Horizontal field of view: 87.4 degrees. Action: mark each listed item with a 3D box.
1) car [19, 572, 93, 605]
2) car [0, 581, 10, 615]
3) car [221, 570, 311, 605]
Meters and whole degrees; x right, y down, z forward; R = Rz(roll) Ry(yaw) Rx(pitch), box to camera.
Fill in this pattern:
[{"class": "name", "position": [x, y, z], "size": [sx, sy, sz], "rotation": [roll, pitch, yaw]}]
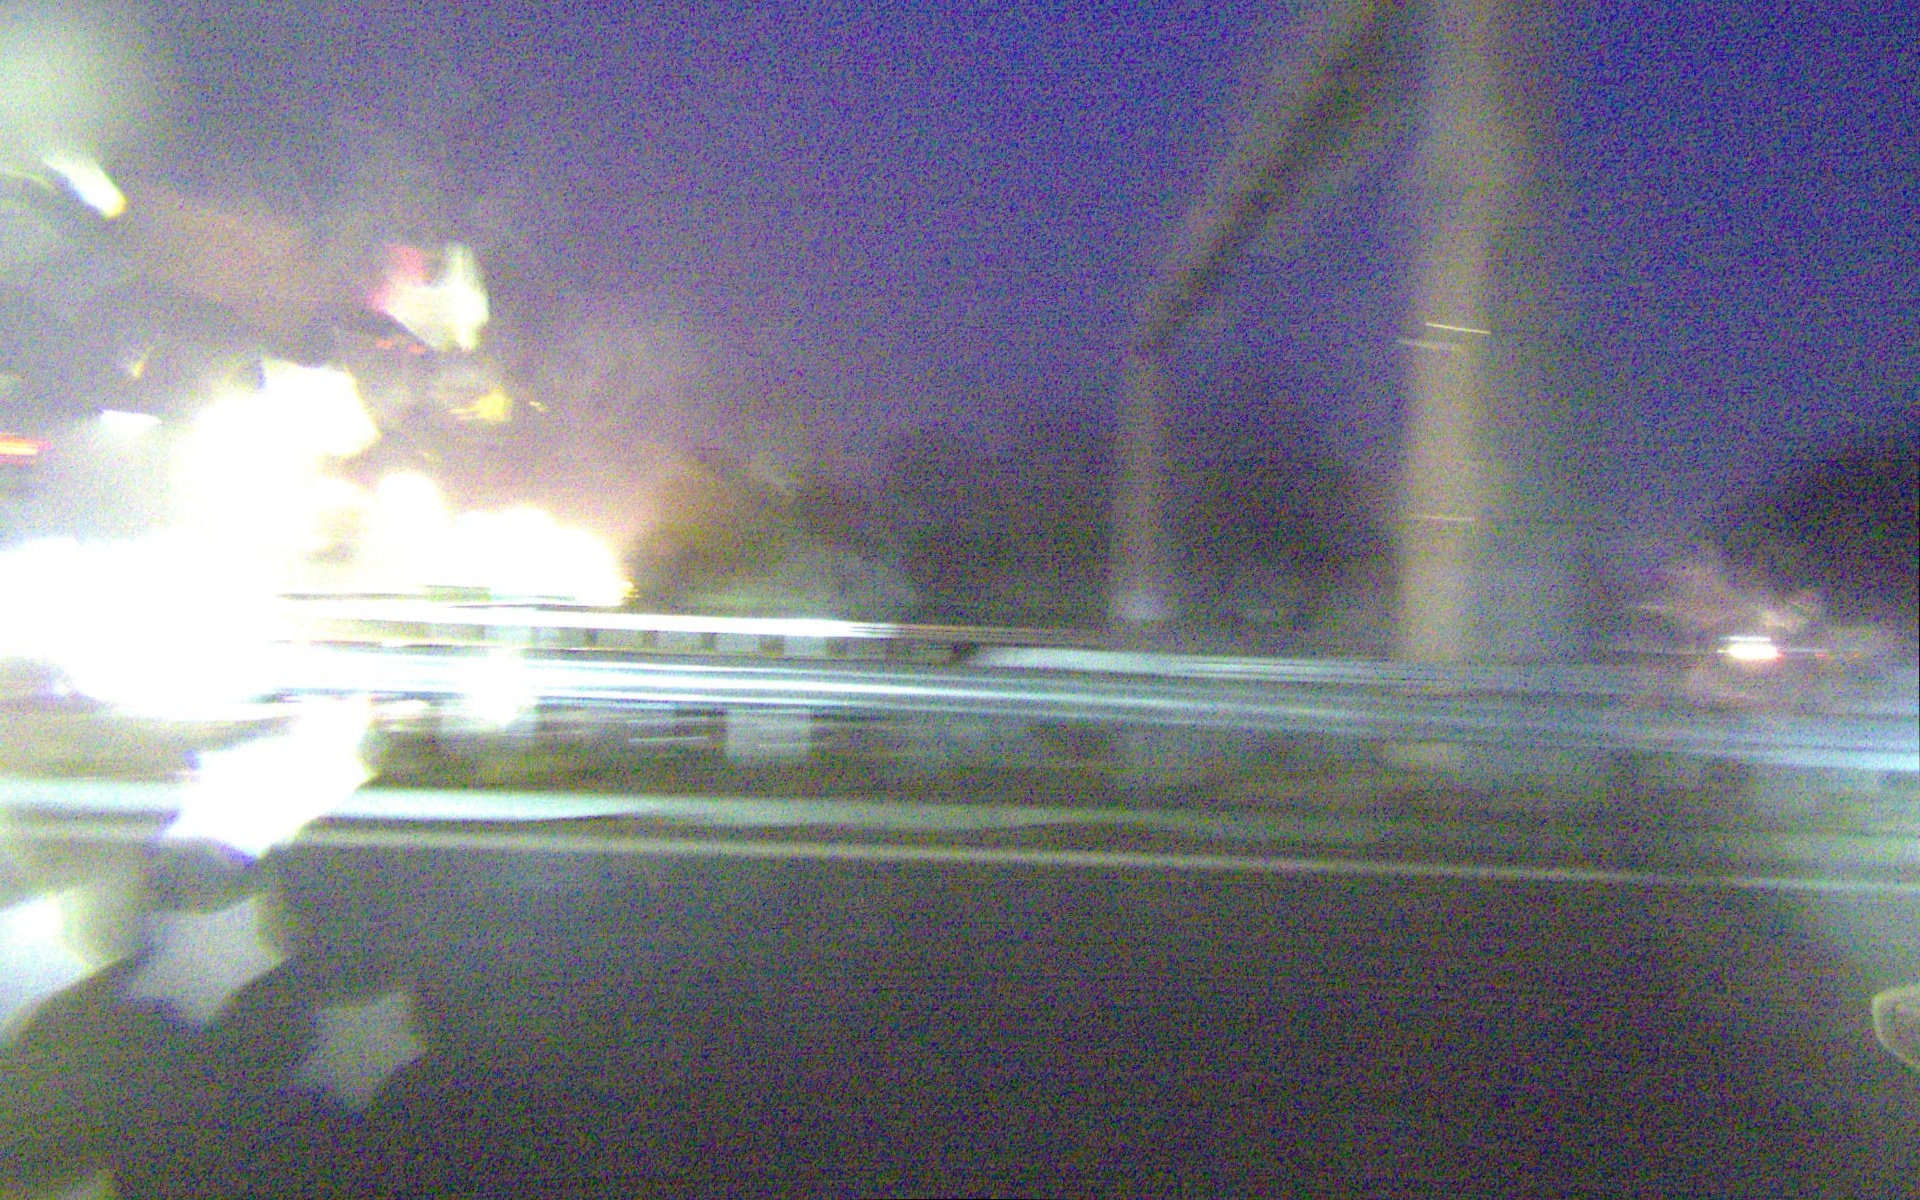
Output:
[{"class": "car", "position": [-49.472, -0.652, 55.058], "size": [1.587, 1.696, 3.776], "rotation": [2, 0, -18]}, {"class": "car", "position": [-44.168, -0.097, 44.208], "size": [1.727, 1.563, 3.780], "rotation": [2, 0, -14]}, {"class": "car", "position": [-31.684, -0.566, 45.987], "size": [1.770, 1.471, 4.259], "rotation": [2, 0, -11]}]
